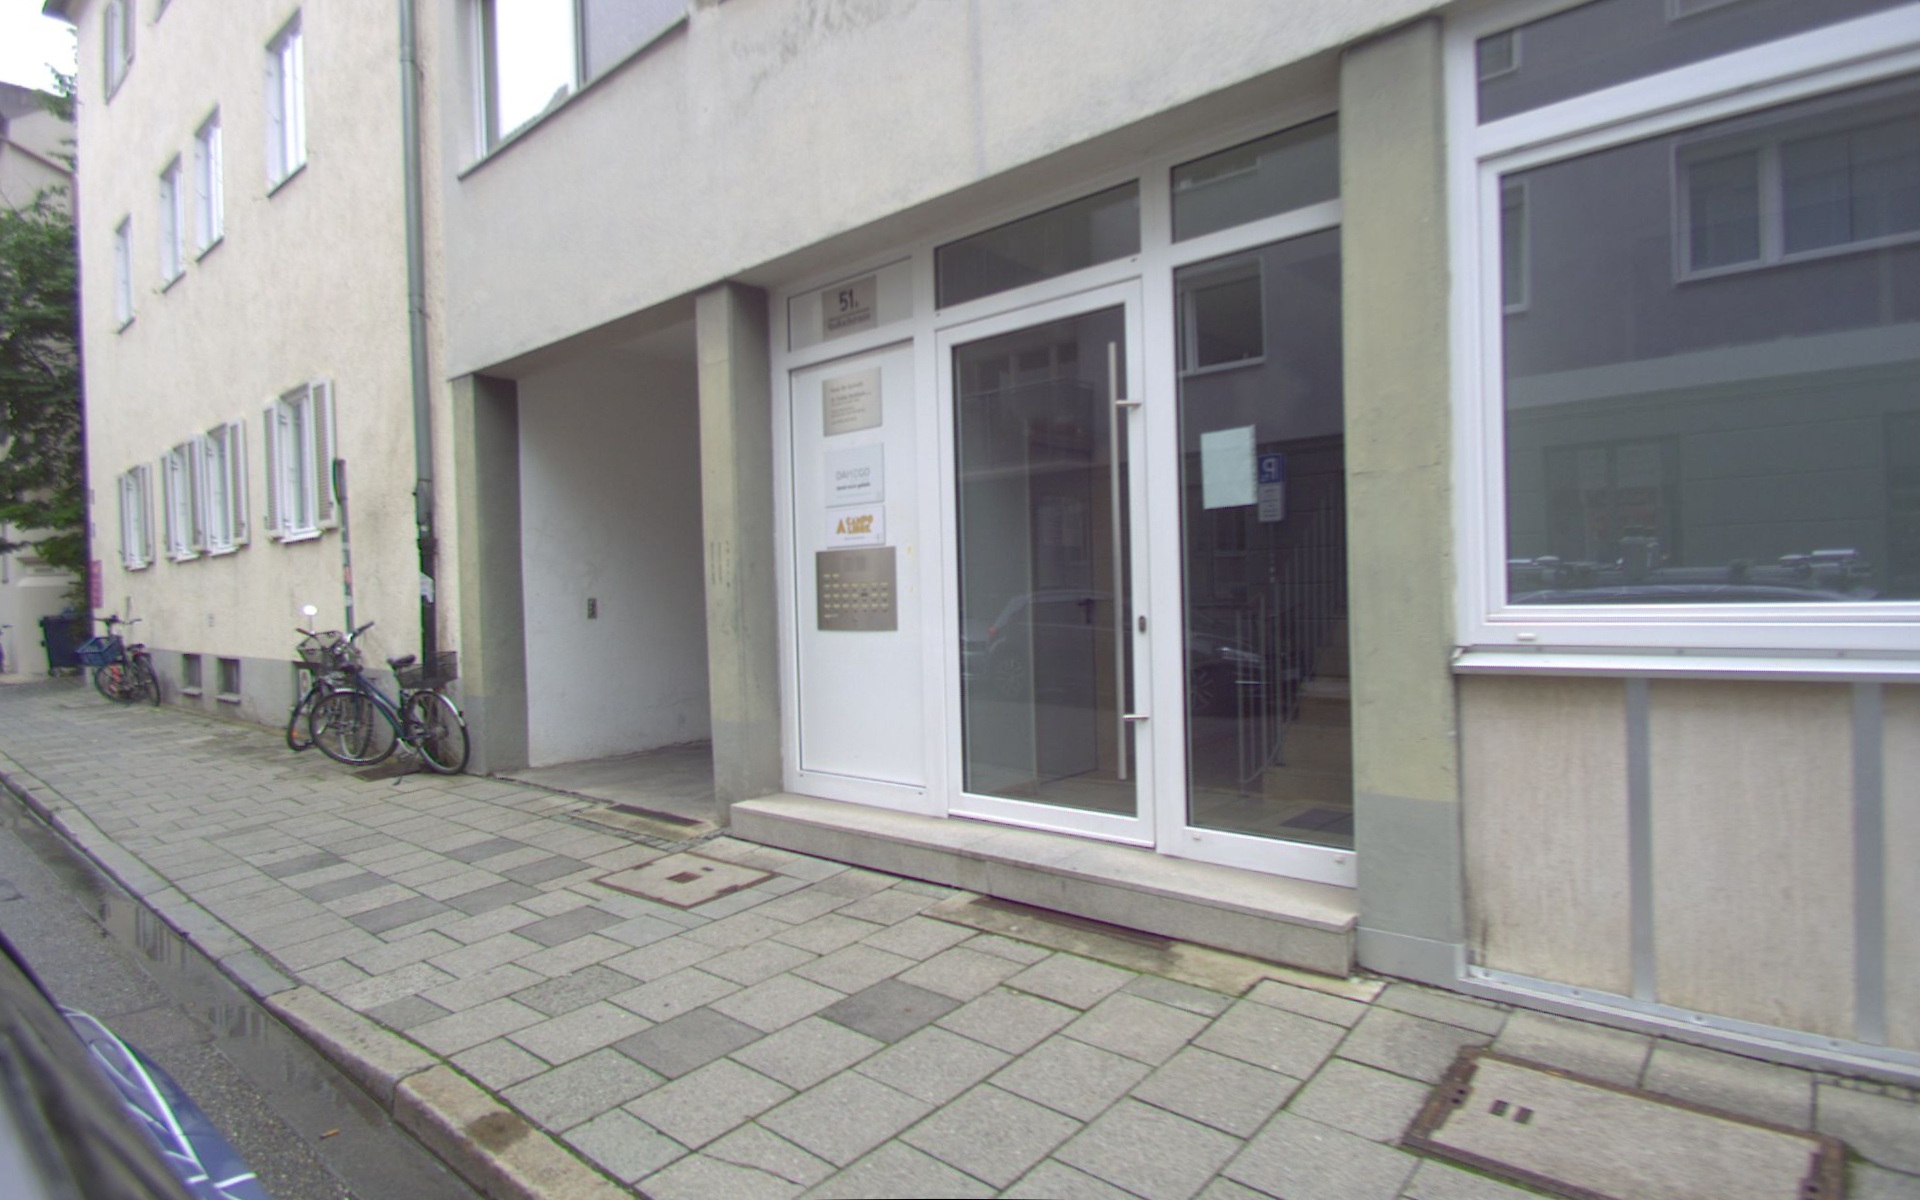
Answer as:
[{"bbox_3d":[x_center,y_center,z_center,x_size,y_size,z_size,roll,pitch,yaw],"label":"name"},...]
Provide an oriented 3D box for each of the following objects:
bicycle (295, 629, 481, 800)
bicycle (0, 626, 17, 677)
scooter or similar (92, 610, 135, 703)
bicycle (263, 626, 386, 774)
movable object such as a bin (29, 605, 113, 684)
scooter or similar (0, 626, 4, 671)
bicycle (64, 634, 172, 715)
[{"bbox_3d":[-4.451,0.826,7.834,1.717,1.168,0.557,-1,1,35],"label":"bicycle"},{"bbox_3d":[-23.174,1.235,24.264,1.880,1.170,0.539,-1,2,40],"label":"bicycle"},{"bbox_3d":[-13.055,0.850,15.599,1.238,1.386,0.314,-1,0,41],"label":"scooter or similar"},{"bbox_3d":[-5.689,0.842,9.024,1.605,1.168,0.453,-1,3,42],"label":"bicycle"},{"bbox_3d":[-18.674,0.922,21.252,1.161,1.452,1.250,-8,4,-43],"label":"movable object such as a bin"},{"bbox_3d":[-24.756,1.270,25.590,0.544,1.152,1.362,-4,2,-32],"label":"scooter or similar"},{"bbox_3d":[-11.898,1.022,14.283,1.819,0.991,0.697,-1,4,37],"label":"bicycle"}]
